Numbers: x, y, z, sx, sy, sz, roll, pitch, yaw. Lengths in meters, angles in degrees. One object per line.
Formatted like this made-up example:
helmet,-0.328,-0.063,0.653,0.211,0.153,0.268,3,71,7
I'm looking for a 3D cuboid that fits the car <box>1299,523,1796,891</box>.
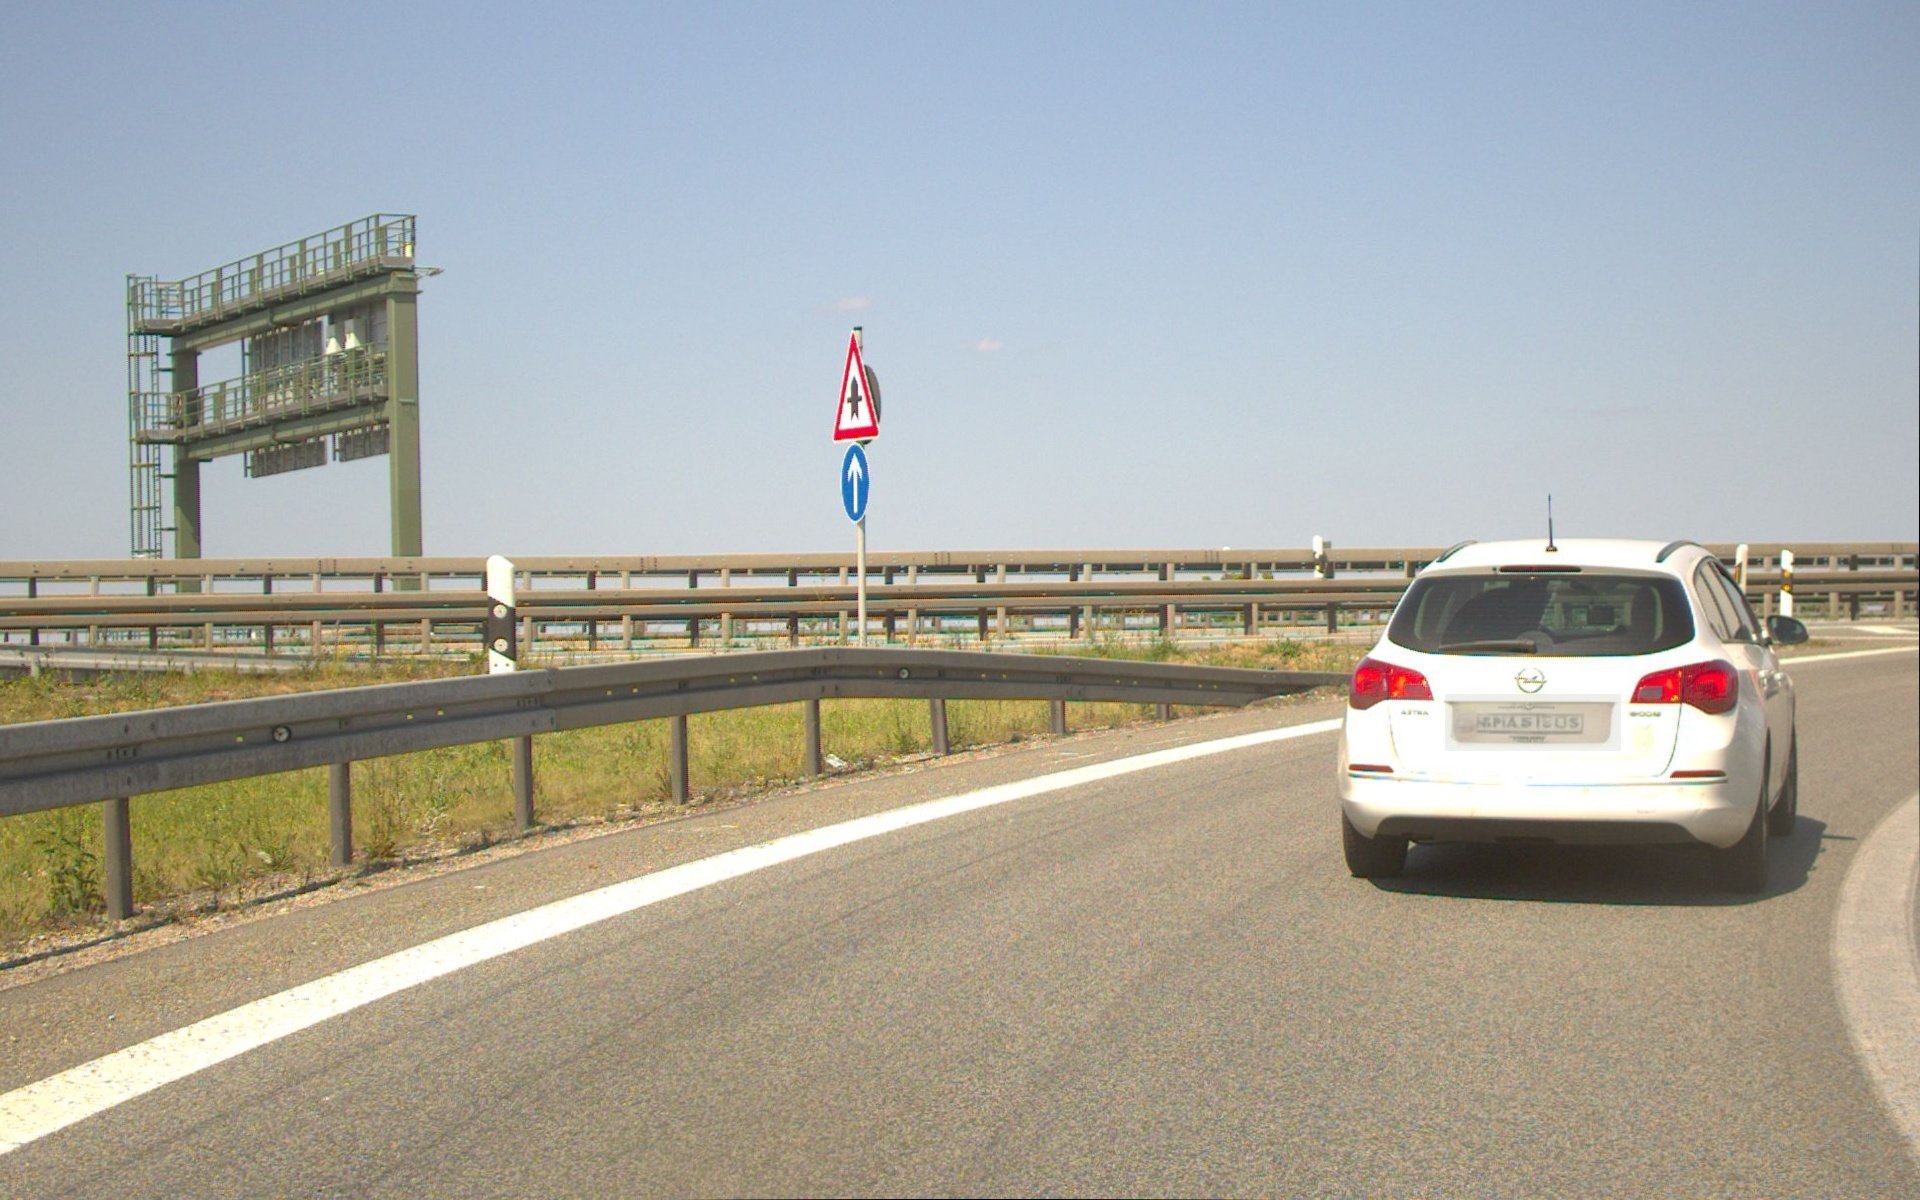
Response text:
car,2.832,0.402,15.787,1.855,1.438,4.369,0,0,15
